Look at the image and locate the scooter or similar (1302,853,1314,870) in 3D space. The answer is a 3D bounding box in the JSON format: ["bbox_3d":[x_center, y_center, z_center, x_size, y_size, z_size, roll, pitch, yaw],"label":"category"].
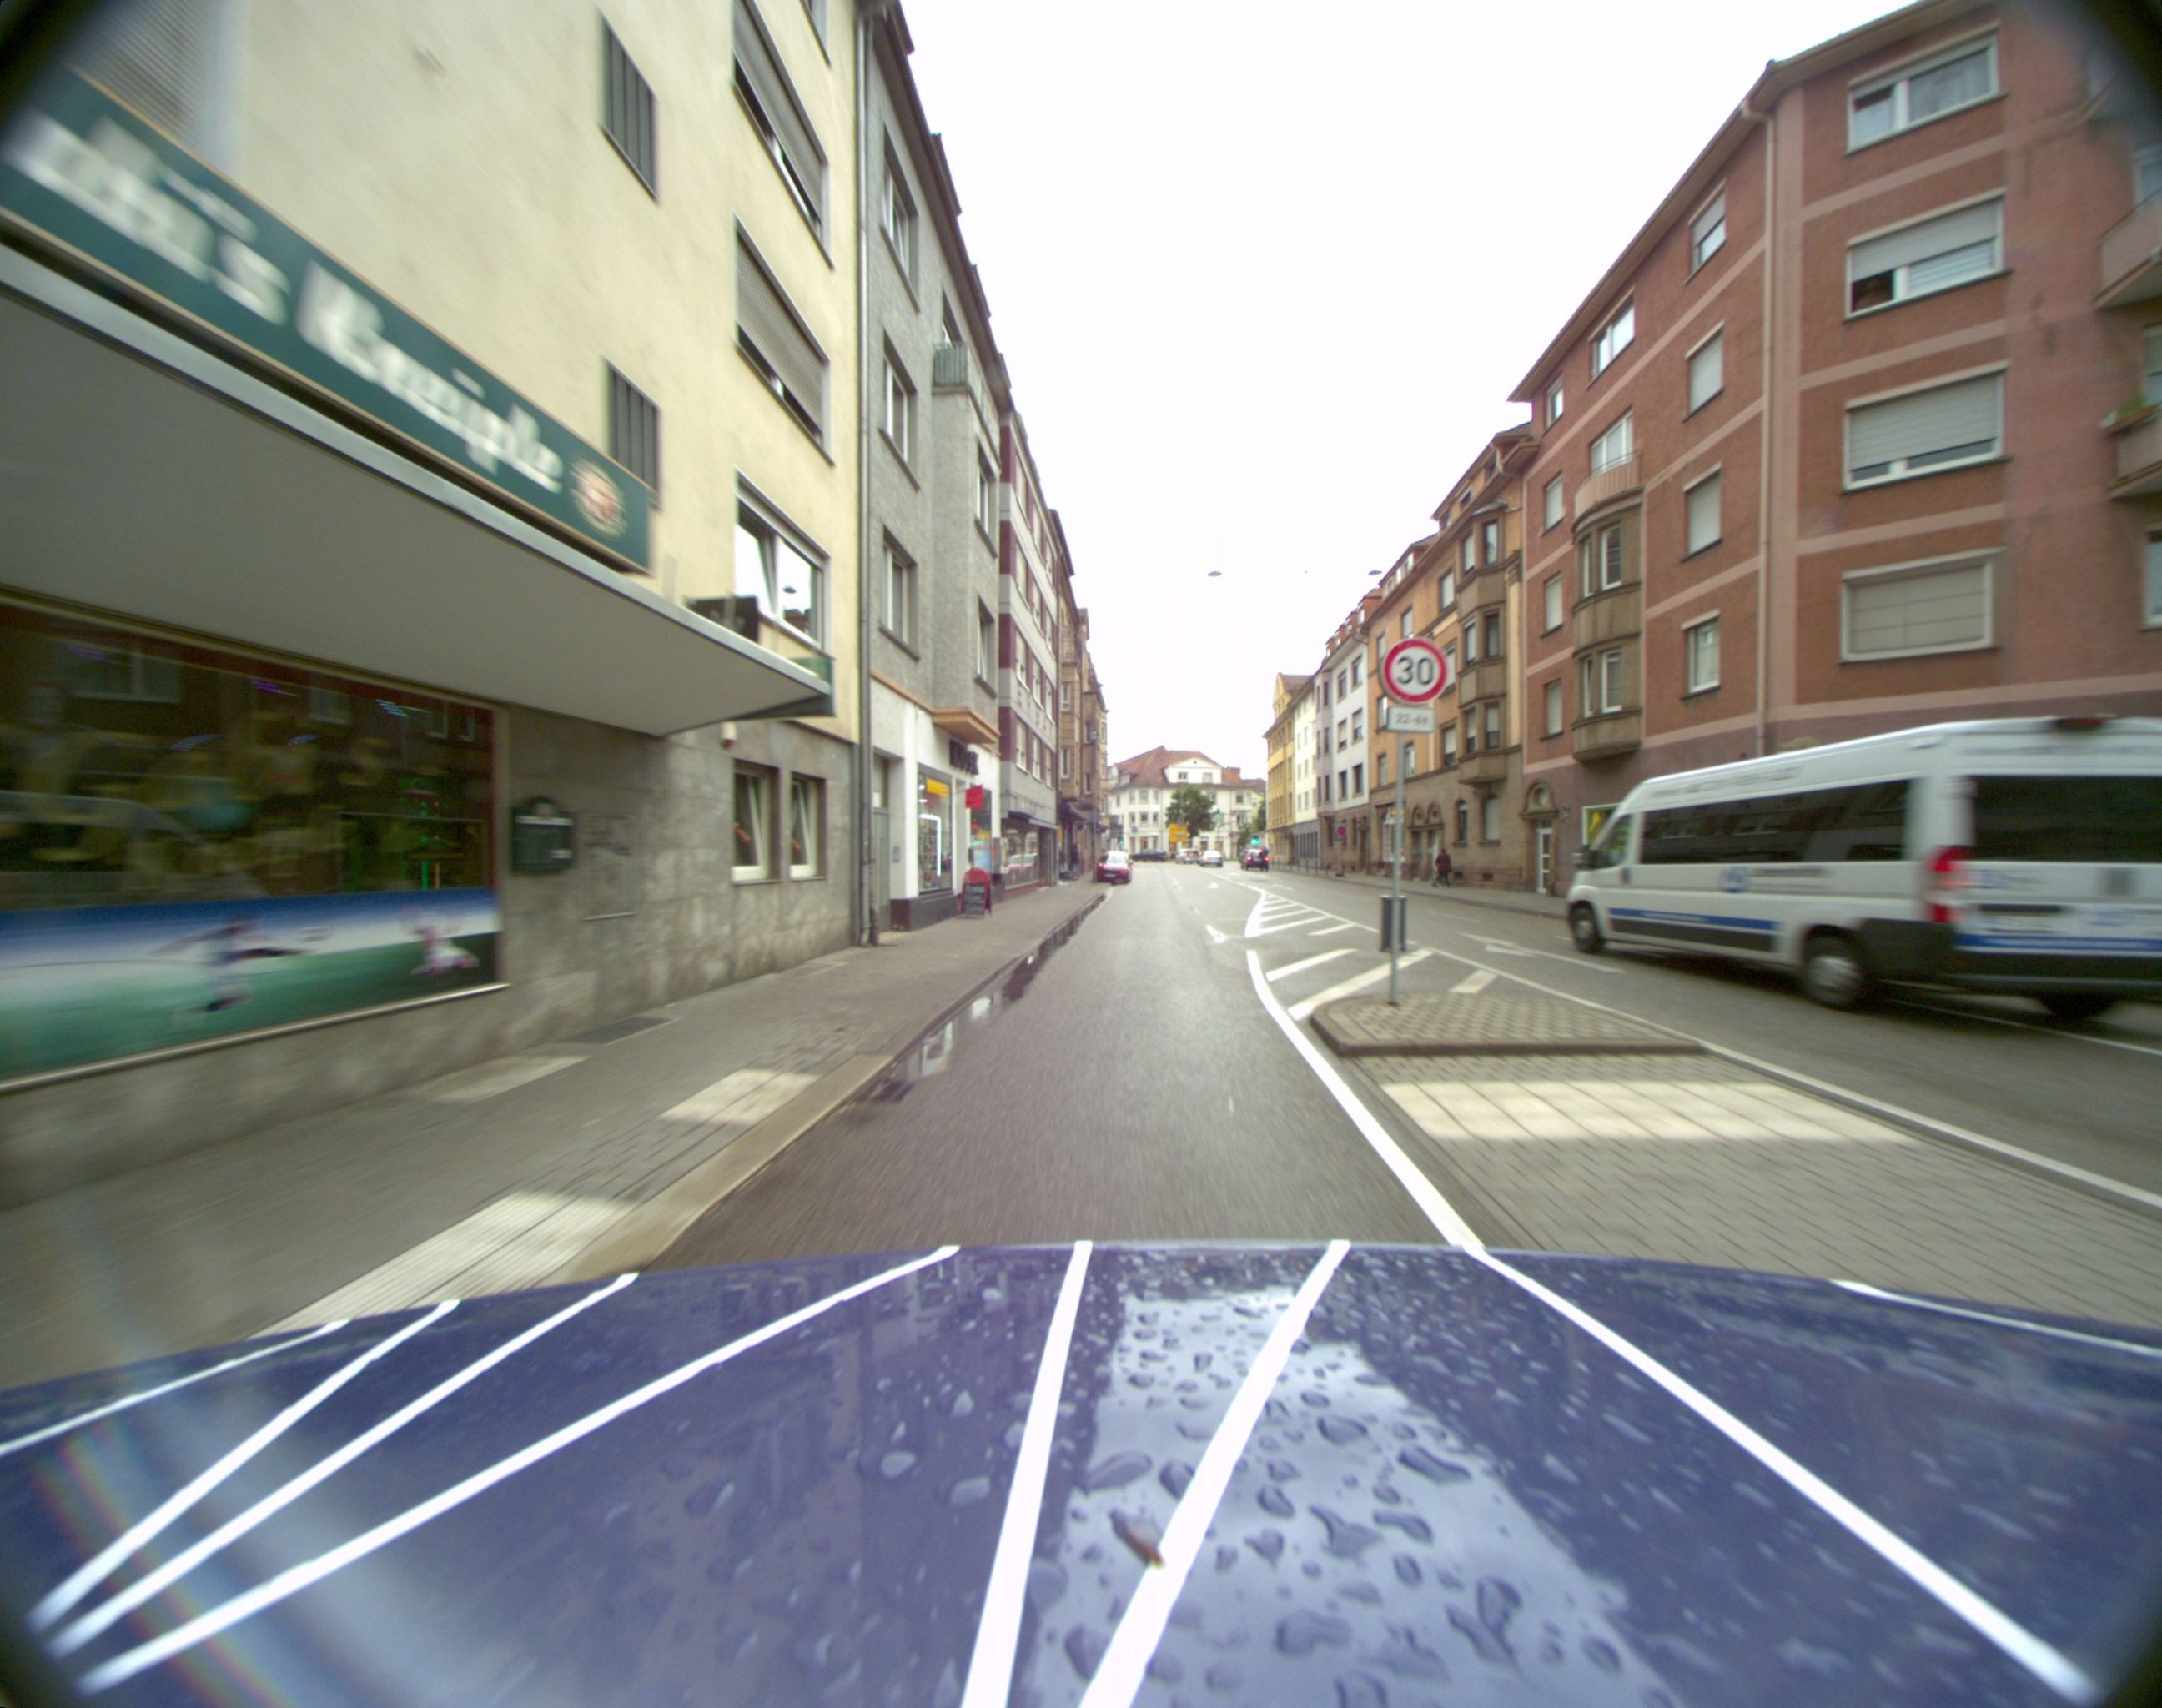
[{"bbox_3d":[17.153,0.573,57.376,0.462,1.206,1.579,-4,1,4],"label":"scooter or similar"}]

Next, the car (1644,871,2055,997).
[{"bbox_3d":[11.516,1.077,12.038,1.854,1.389,4.794,-3,0,5],"label":"car"}]

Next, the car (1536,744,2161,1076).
[{"bbox_3d":[7.901,0.377,8.723,2.090,2.421,6.355,0,1,6],"label":"car"}]

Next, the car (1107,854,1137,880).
[{"bbox_3d":[2.557,0.776,46.629,1.651,1.485,4.449,0,1,6],"label":"car"}]

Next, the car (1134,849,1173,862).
[{"bbox_3d":[8.795,0.156,92.455,1.953,1.574,4.592,-1,1,-39],"label":"car"}]

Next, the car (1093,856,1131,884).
[{"bbox_3d":[1.656,0.781,38.806,1.747,1.361,4.316,0,0,5],"label":"car"}]

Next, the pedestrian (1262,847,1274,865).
[{"bbox_3d":[19.549,0.192,79.344,0.895,1.760,1.033,-4,1,3],"label":"pedestrian"}]

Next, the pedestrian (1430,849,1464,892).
[{"bbox_3d":[14.756,0.669,30.645,0.845,1.669,0.852,-3,1,-7],"label":"pedestrian"}]

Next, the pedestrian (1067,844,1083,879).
[{"bbox_3d":[-0.312,0.359,38.991,0.745,1.769,0.796,0,1,3],"label":"pedestrian"}]

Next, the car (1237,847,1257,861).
[{"bbox_3d":[19.347,-0.034,88.615,1.985,1.586,4.340,0,1,8],"label":"car"}]

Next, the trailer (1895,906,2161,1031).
[{"bbox_3d":[11.022,1.160,8.107,1.591,0.944,3.057,-1,0,7],"label":"trailer"}]

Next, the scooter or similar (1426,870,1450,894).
[{"bbox_3d":[14.685,1.137,31.281,0.714,0.920,0.480,-3,1,-7],"label":"scooter or similar"}]

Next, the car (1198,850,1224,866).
[{"bbox_3d":[12.086,0.345,70.847,1.947,1.462,4.560,0,1,5],"label":"car"}]

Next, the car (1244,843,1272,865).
[{"bbox_3d":[14.170,-0.029,61.103,1.757,1.642,4.309,0,1,7],"label":"car"}]

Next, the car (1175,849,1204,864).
[{"bbox_3d":[11.863,0.242,83.443,1.949,1.574,4.516,0,1,-9],"label":"car"}]
